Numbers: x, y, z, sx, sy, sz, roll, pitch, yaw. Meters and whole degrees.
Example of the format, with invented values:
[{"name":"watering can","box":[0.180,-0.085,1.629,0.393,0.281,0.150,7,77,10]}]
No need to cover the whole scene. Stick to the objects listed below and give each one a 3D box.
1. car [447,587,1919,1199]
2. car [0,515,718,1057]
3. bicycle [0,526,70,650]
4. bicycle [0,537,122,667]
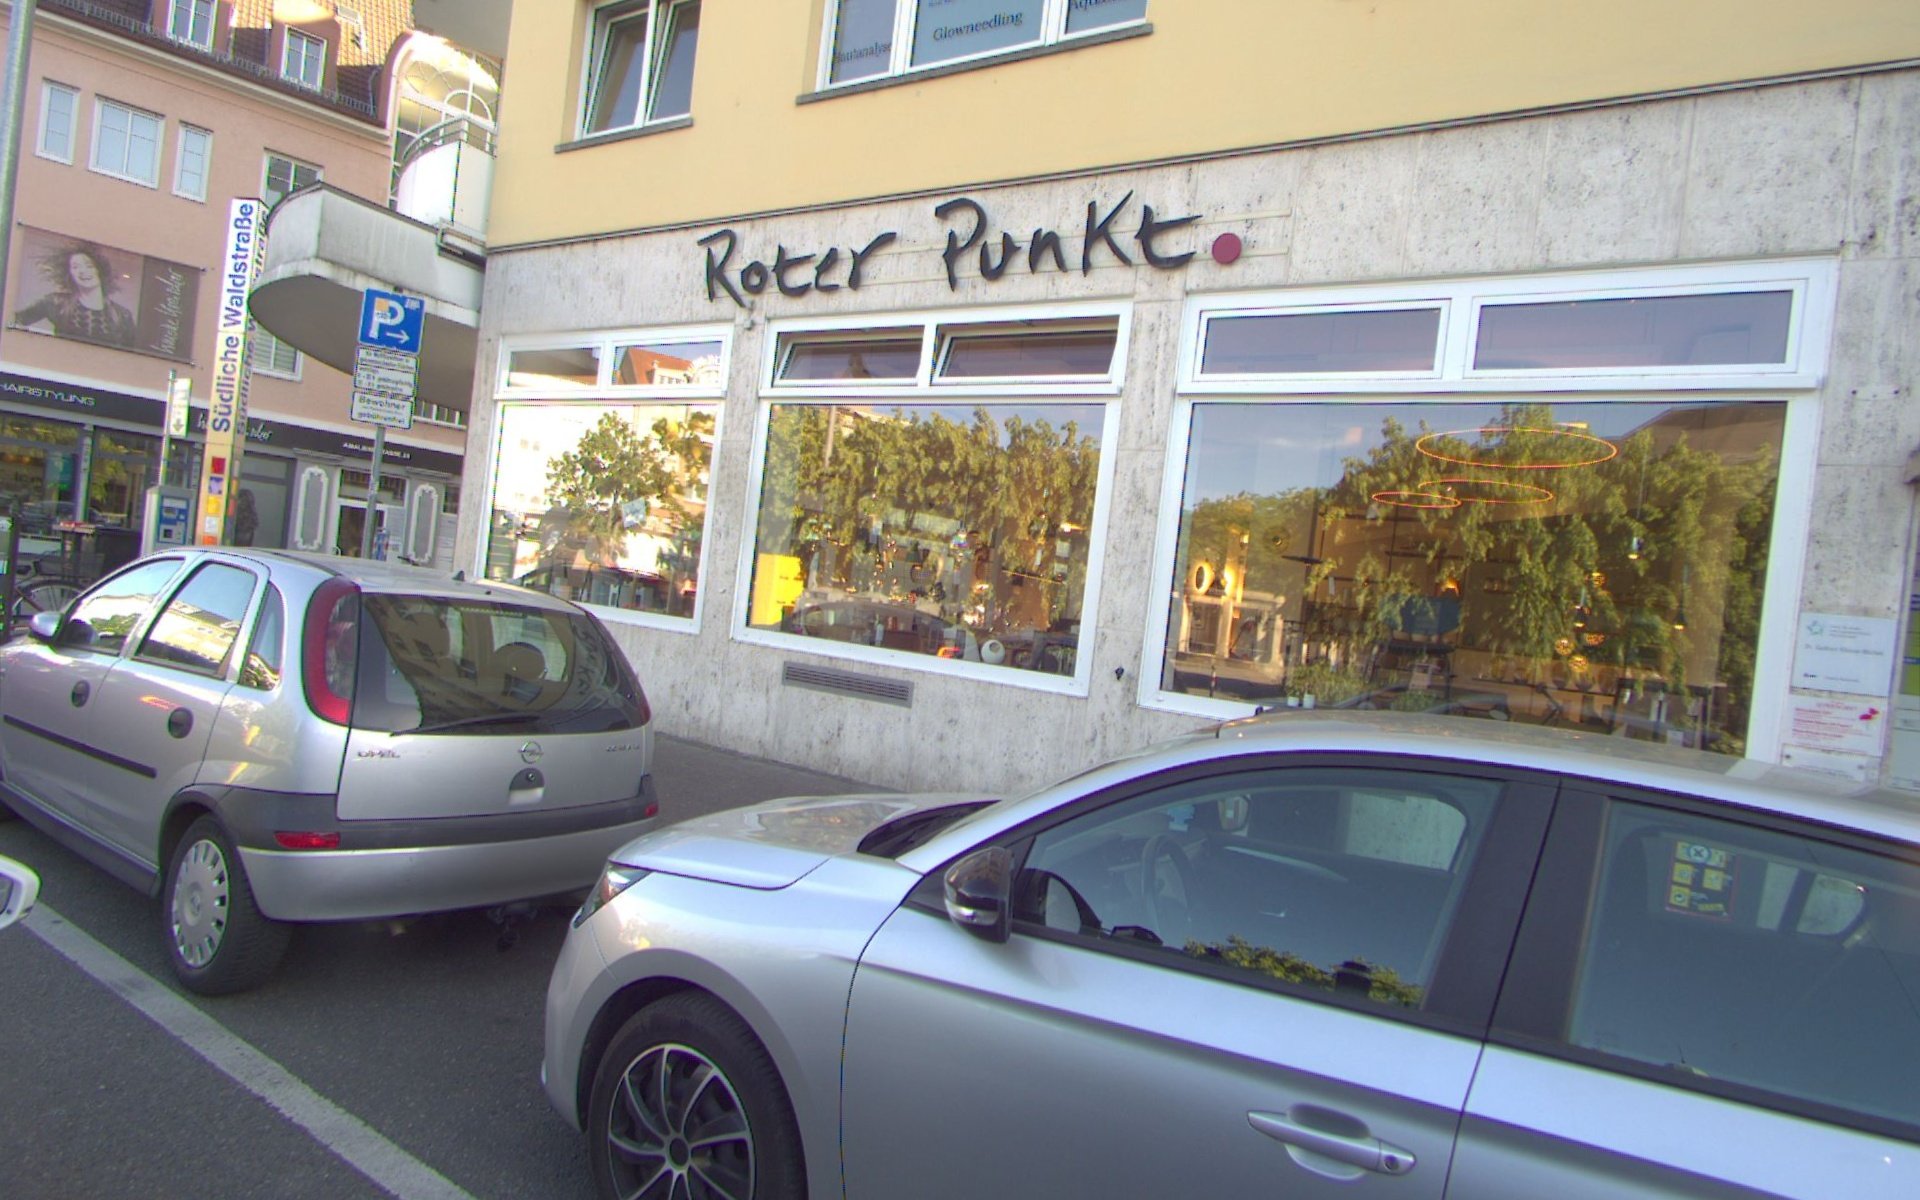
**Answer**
[{"name":"car","box":[0.744,0.923,2.239,3.598,1.444,1.550,6,-2,30]},{"name":"car","box":[-2.913,0.500,4.410,3.420,1.407,1.548,6,-1,33]},{"name":"bicycle","box":[-9.099,-0.150,8.803,0.408,1.101,1.872,6,1,35]},{"name":"bicycle","box":[-8.112,-0.002,8.212,0.348,1.051,1.871,6,1,38]}]
